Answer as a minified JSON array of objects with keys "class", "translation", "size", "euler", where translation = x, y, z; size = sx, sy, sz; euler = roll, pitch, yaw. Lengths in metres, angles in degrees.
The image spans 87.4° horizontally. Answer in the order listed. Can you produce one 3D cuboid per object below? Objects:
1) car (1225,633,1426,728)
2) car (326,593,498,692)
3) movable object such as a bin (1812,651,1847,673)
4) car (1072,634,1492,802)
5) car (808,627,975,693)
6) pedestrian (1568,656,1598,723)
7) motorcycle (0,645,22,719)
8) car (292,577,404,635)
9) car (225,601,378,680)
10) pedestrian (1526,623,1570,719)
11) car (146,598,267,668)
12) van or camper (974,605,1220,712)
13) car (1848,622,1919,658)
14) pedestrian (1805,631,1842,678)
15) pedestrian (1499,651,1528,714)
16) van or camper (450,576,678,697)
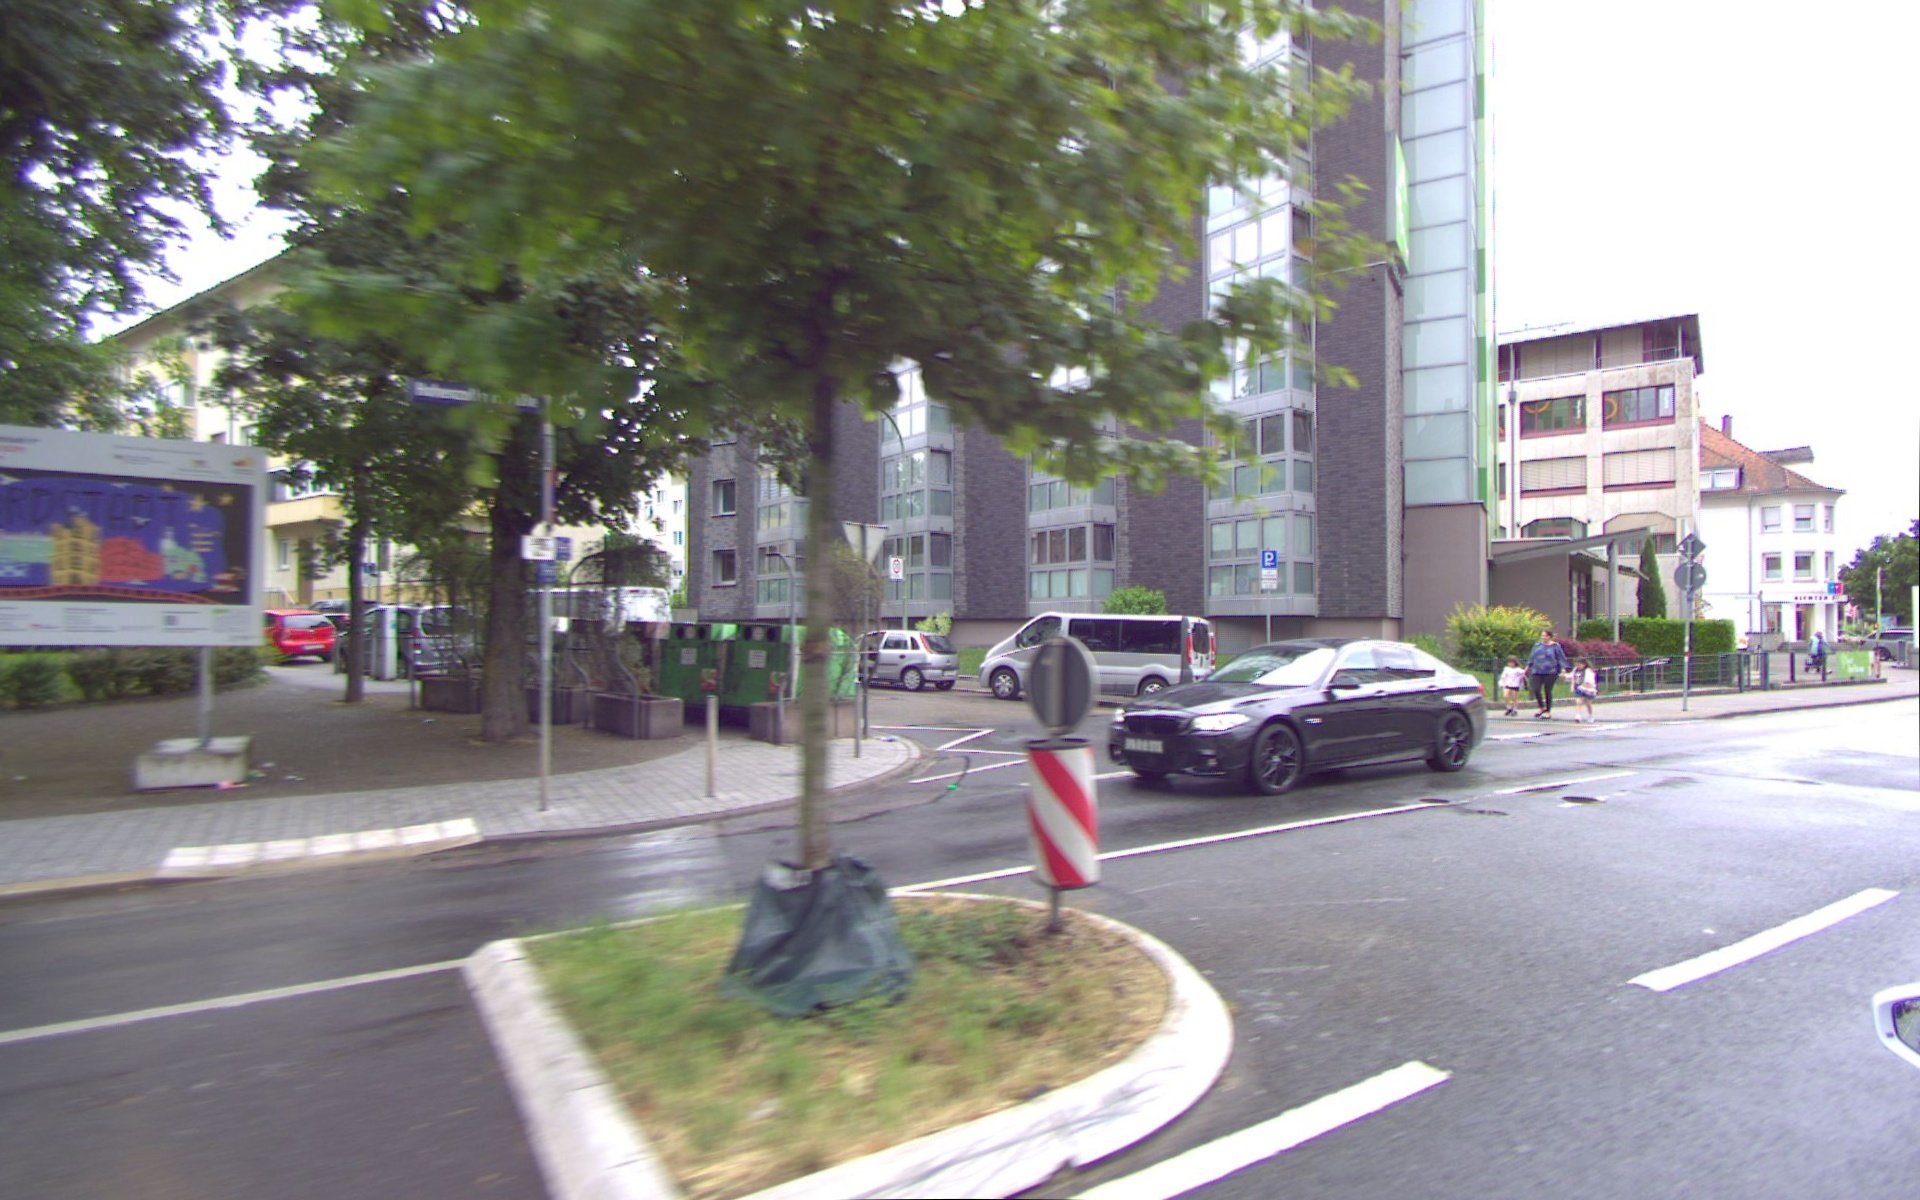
[{"class":"car","translation":[7.133,1.497,19.599],"size":[3.521,1.590,1.740],"euler":[1,0,25]},{"class":"car","translation":[-13.678,1.031,25.045],"size":[3.929,2.285,1.997],"euler":[-1,-2,30]},{"class":"movable object such as a bin","translation":[32.598,2.319,37.664],"size":[0.718,0.799,0.755],"euler":[1,-1,13]},{"class":"car","translation":[3.567,1.110,10.871],"size":[4.452,1.444,2.002],"euler":[1,-1,-33]},{"class":"car","translation":[-1.700,1.428,24.856],"size":[3.664,1.462,1.995],"euler":[0,-2,32]},{"class":"pedestrian","translation":[11.590,1.656,18.681],"size":[0.308,1.213,0.405],"euler":[1,-1,-39]},{"class":"motorcycle","translation":[-13.570,1.165,13.345],"size":[0.784,1.001,2.051],"euler":[1,1,-17]},{"class":"car","translation":[-22.713,0.259,37.251],"size":[3.931,2.040,1.995],"euler":[0,-2,32]},{"class":"car","translation":[-18.475,1.085,28.170],"size":[3.928,2.040,1.997],"euler":[0,-1,30]},{"class":"pedestrian","translation":[11.263,1.341,19.234],"size":[0.576,1.785,0.569],"euler":[1,-1,-39]},{"class":"car","translation":[-23.545,1.019,31.343],"size":[3.936,2.040,1.993],"euler":[-1,-2,37]},{"class":"van or camper","translation":[2.950,1.231,21.898],"size":[4.877,2.040,1.998],"euler":[1,-3,28]},{"class":"car","translation":[44.779,1.905,47.070],"size":[1.869,1.547,4.412],"euler":[2,1,-37]},{"class":"pedestrian","translation":[32.063,2.025,37.311],"size":[0.732,1.707,0.755],"euler":[0,-1,13]},{"class":"pedestrian","translation":[10.901,1.613,19.791],"size":[0.356,1.213,0.405],"euler":[1,-1,-39]},{"class":"van or camper","translation":[-8.651,0.694,21.919],"size":[4.534,2.297,2.208],"euler":[2,1,29]}]
